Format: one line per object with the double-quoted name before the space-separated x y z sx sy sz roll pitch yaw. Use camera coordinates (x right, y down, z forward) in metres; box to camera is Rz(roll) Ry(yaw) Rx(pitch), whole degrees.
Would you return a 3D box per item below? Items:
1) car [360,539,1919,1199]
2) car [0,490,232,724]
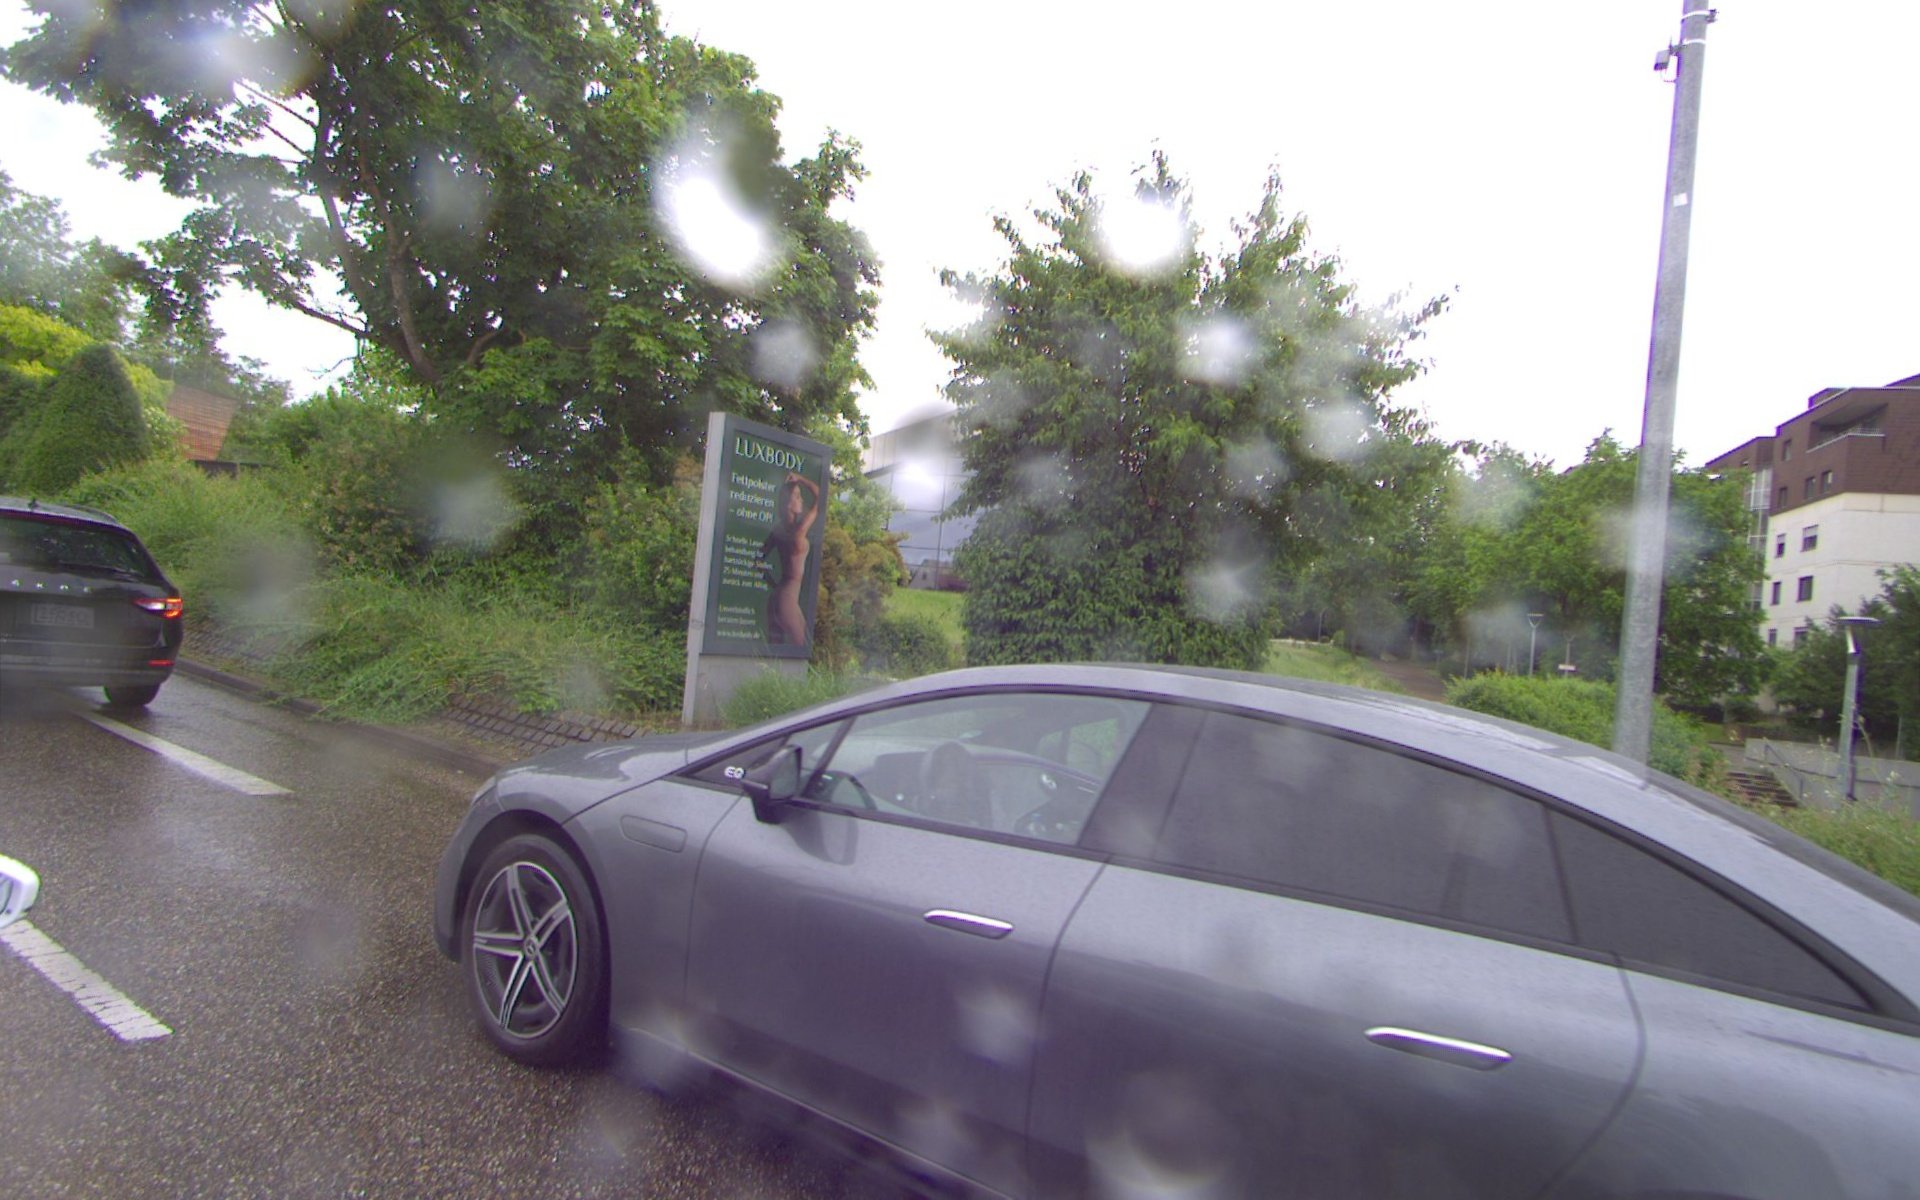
"car" 0.499 0.877 3.035 4.728 1.483 1.842 7 -2 31
"car" -7.757 -0.142 7.851 4.279 1.483 1.841 7 -2 33
